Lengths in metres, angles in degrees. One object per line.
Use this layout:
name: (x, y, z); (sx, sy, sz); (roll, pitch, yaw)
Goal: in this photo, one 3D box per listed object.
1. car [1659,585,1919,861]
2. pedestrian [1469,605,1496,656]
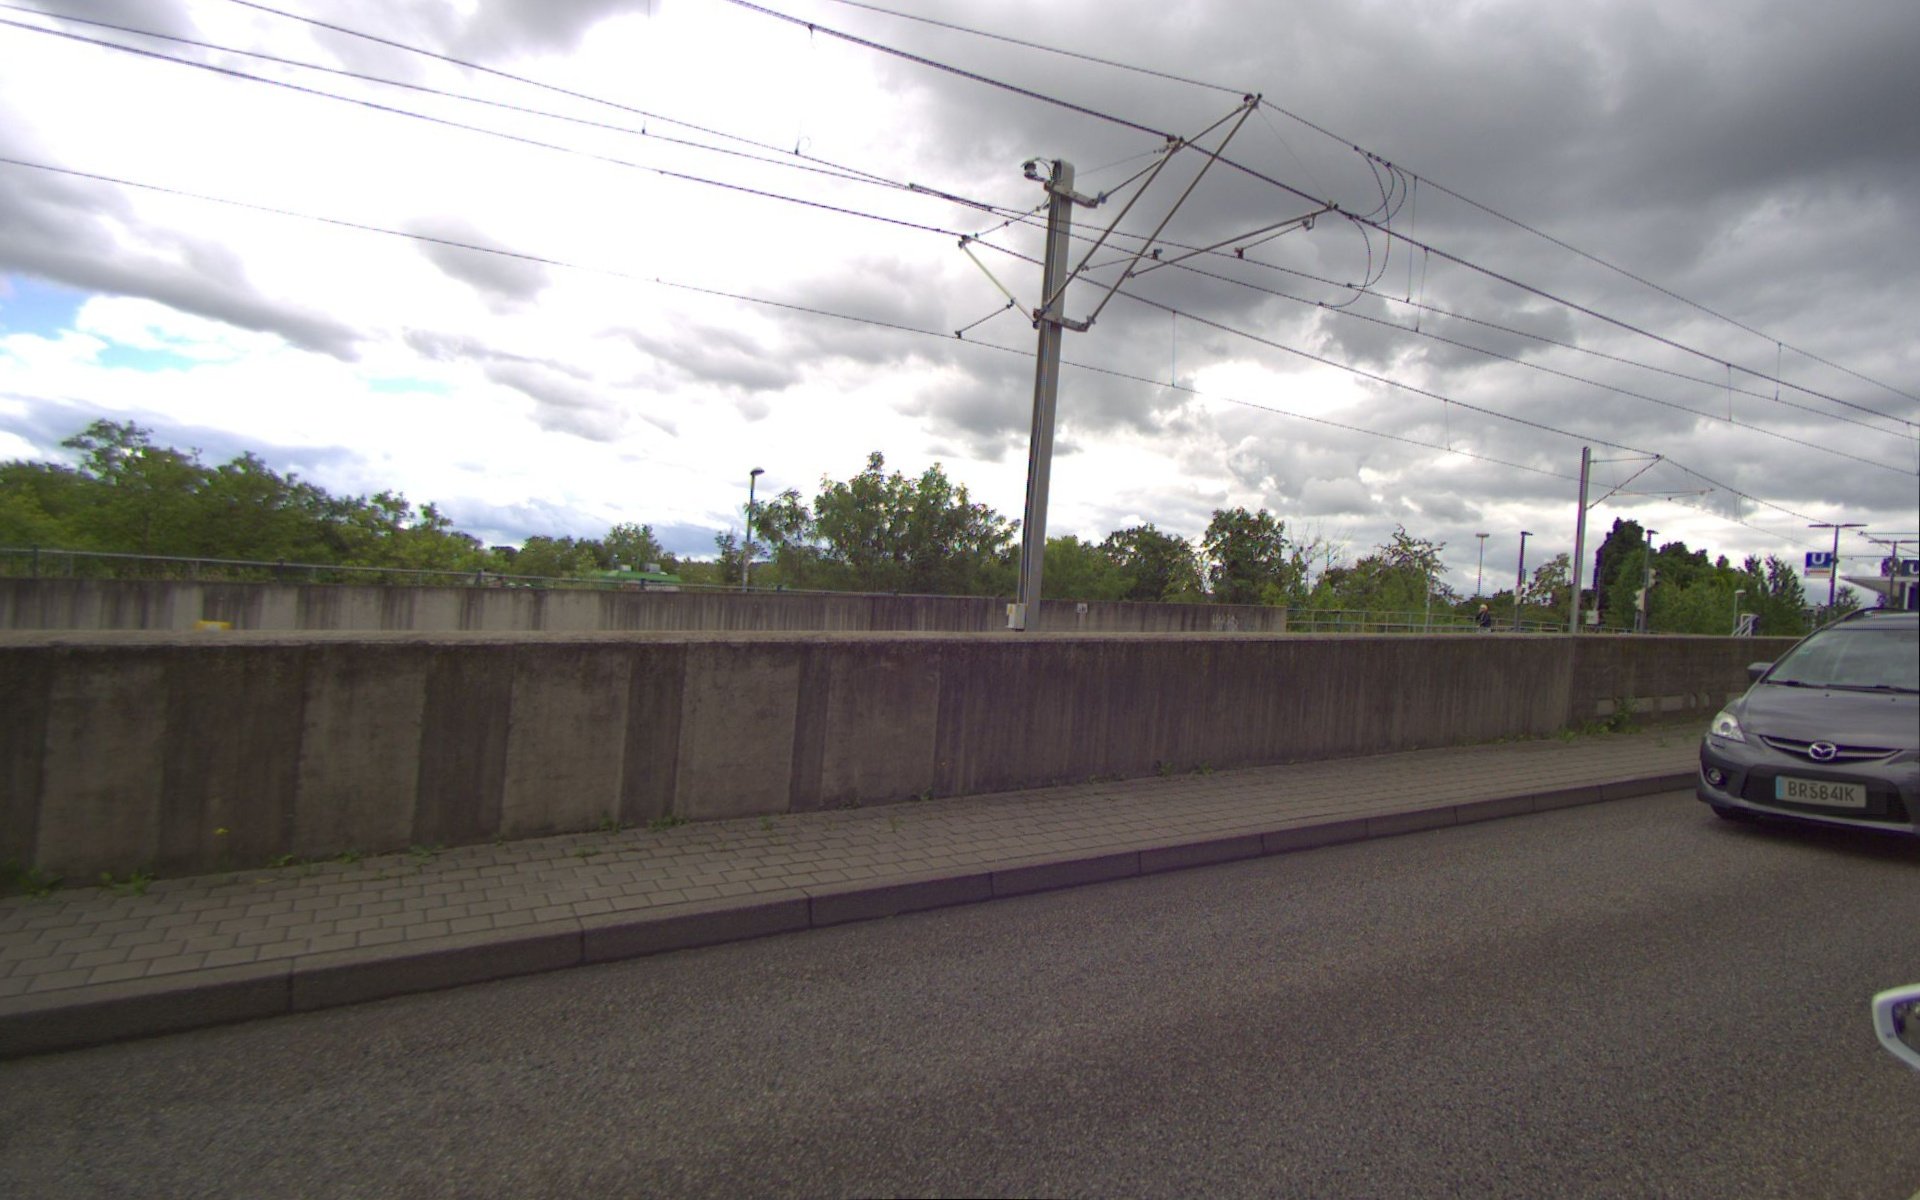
car: (7.389, 0.786, 7.680); (4.198, 1.679, 1.813); (1, 0, -32)
pedestrian: (17.328, 1.006, 33.327); (0.638, 1.646, 0.505); (2, 0, -31)
